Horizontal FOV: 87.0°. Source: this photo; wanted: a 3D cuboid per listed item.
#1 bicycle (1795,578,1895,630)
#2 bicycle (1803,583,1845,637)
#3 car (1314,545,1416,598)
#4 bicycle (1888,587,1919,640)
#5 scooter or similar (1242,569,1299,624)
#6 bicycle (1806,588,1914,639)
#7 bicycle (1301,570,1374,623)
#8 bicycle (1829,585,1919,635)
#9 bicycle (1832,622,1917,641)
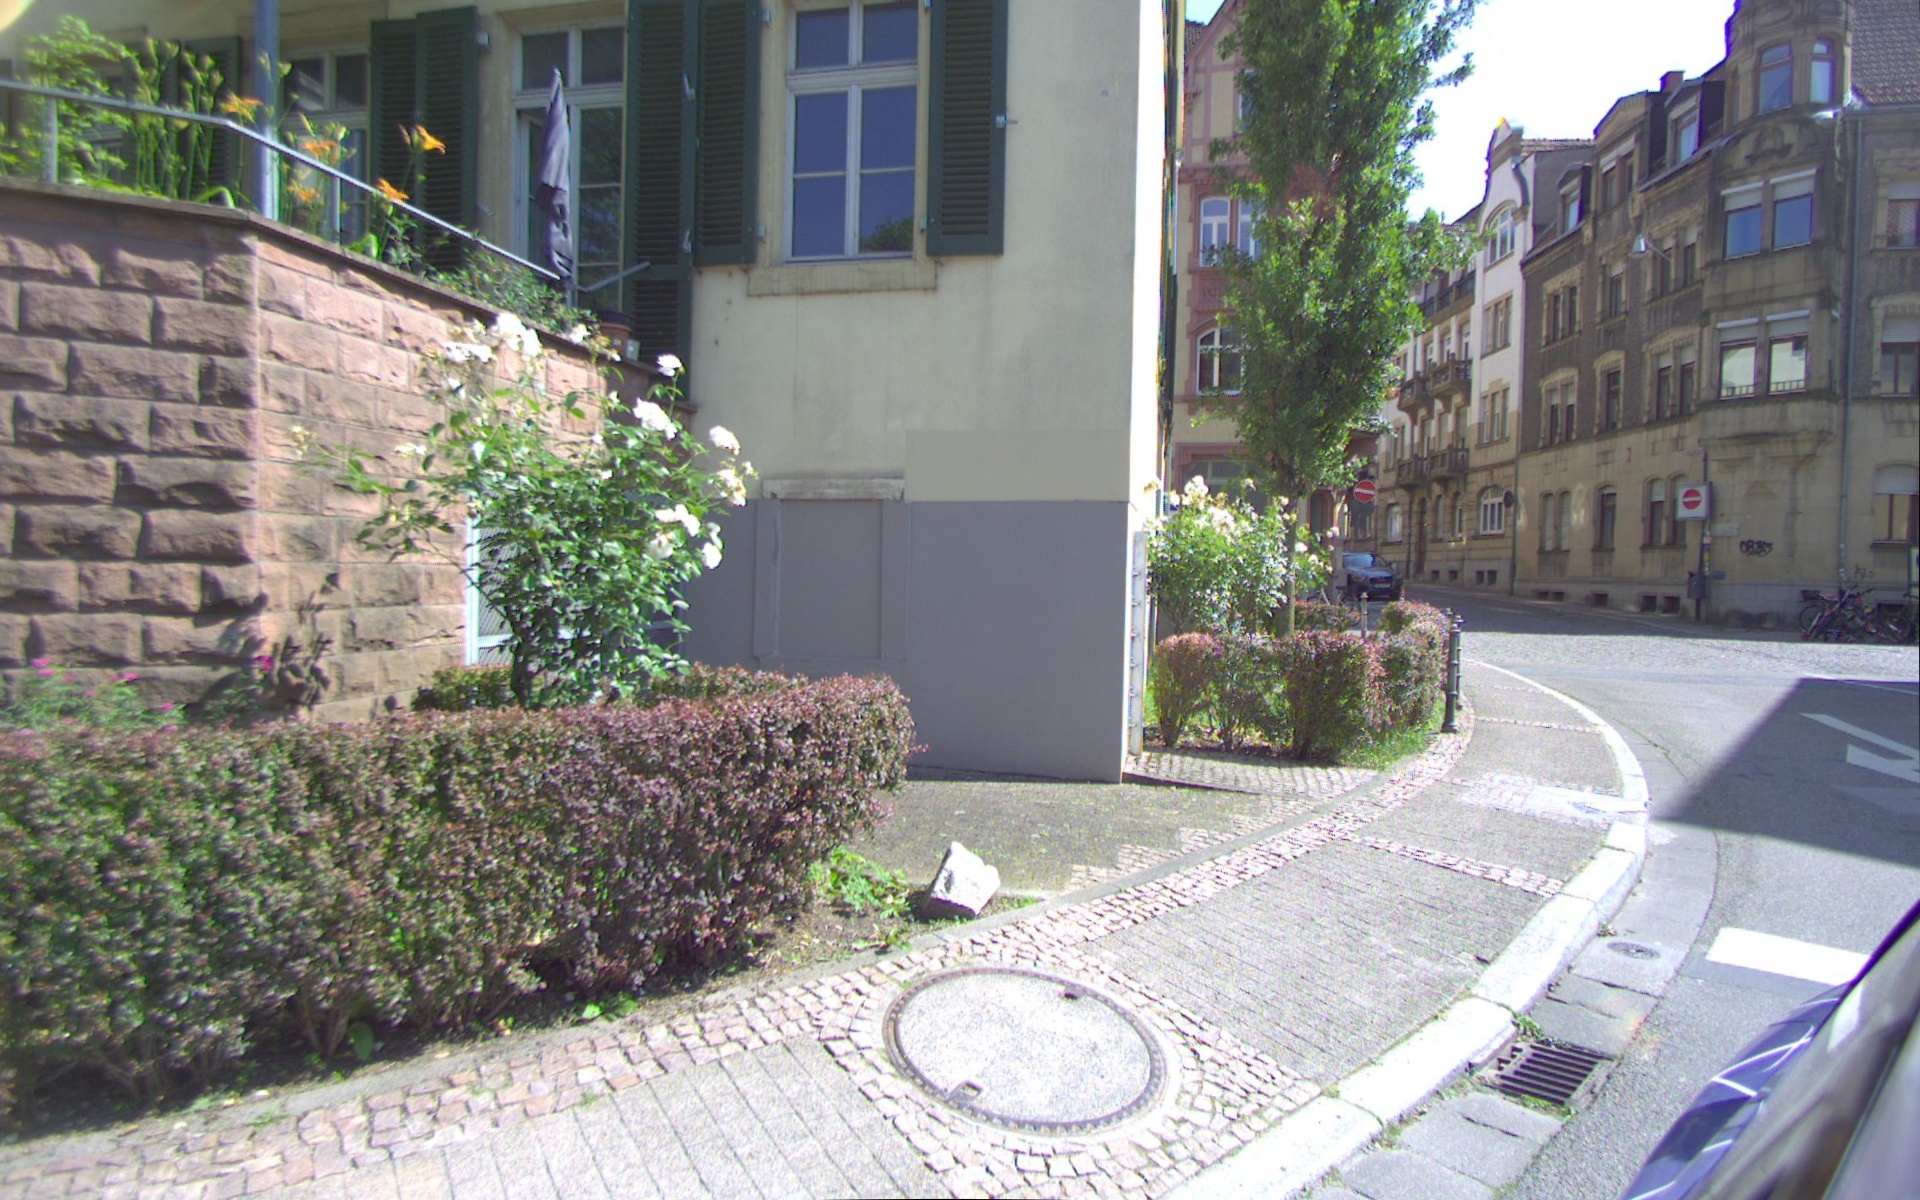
[{"bbox_3d":[20.645,0.089,23.634,1.617,1.098,0.495,2,6,13],"label":"bicycle"},{"bbox_3d":[18.859,0.202,22.109,0.283,1.099,1.628,-2,1,26],"label":"bicycle"},{"bbox_3d":[13.606,-1.020,34.252,1.828,1.601,4.261,-1,4,2],"label":"car"},{"bbox_3d":[20.408,0.287,21.094,0.280,1.099,1.646,3,-1,-15],"label":"bicycle"},{"bbox_3d":[7.313,-0.094,23.824,1.168,1.250,0.442,1,2,0],"label":"scooter or similar"},{"bbox_3d":[19.474,0.272,21.948,0.285,1.080,1.642,-42,1,3],"label":"bicycle"},{"bbox_3d":[9.009,-0.099,24.248,0.495,1.160,1.798,1,3,-23],"label":"bicycle"},{"bbox_3d":[19.961,0.212,21.910,0.285,1.080,1.642,-42,1,3],"label":"bicycle"},{"bbox_3d":[19.445,0.662,21.561,1.068,0.291,1.114,2,3,27],"label":"bicycle"}]
